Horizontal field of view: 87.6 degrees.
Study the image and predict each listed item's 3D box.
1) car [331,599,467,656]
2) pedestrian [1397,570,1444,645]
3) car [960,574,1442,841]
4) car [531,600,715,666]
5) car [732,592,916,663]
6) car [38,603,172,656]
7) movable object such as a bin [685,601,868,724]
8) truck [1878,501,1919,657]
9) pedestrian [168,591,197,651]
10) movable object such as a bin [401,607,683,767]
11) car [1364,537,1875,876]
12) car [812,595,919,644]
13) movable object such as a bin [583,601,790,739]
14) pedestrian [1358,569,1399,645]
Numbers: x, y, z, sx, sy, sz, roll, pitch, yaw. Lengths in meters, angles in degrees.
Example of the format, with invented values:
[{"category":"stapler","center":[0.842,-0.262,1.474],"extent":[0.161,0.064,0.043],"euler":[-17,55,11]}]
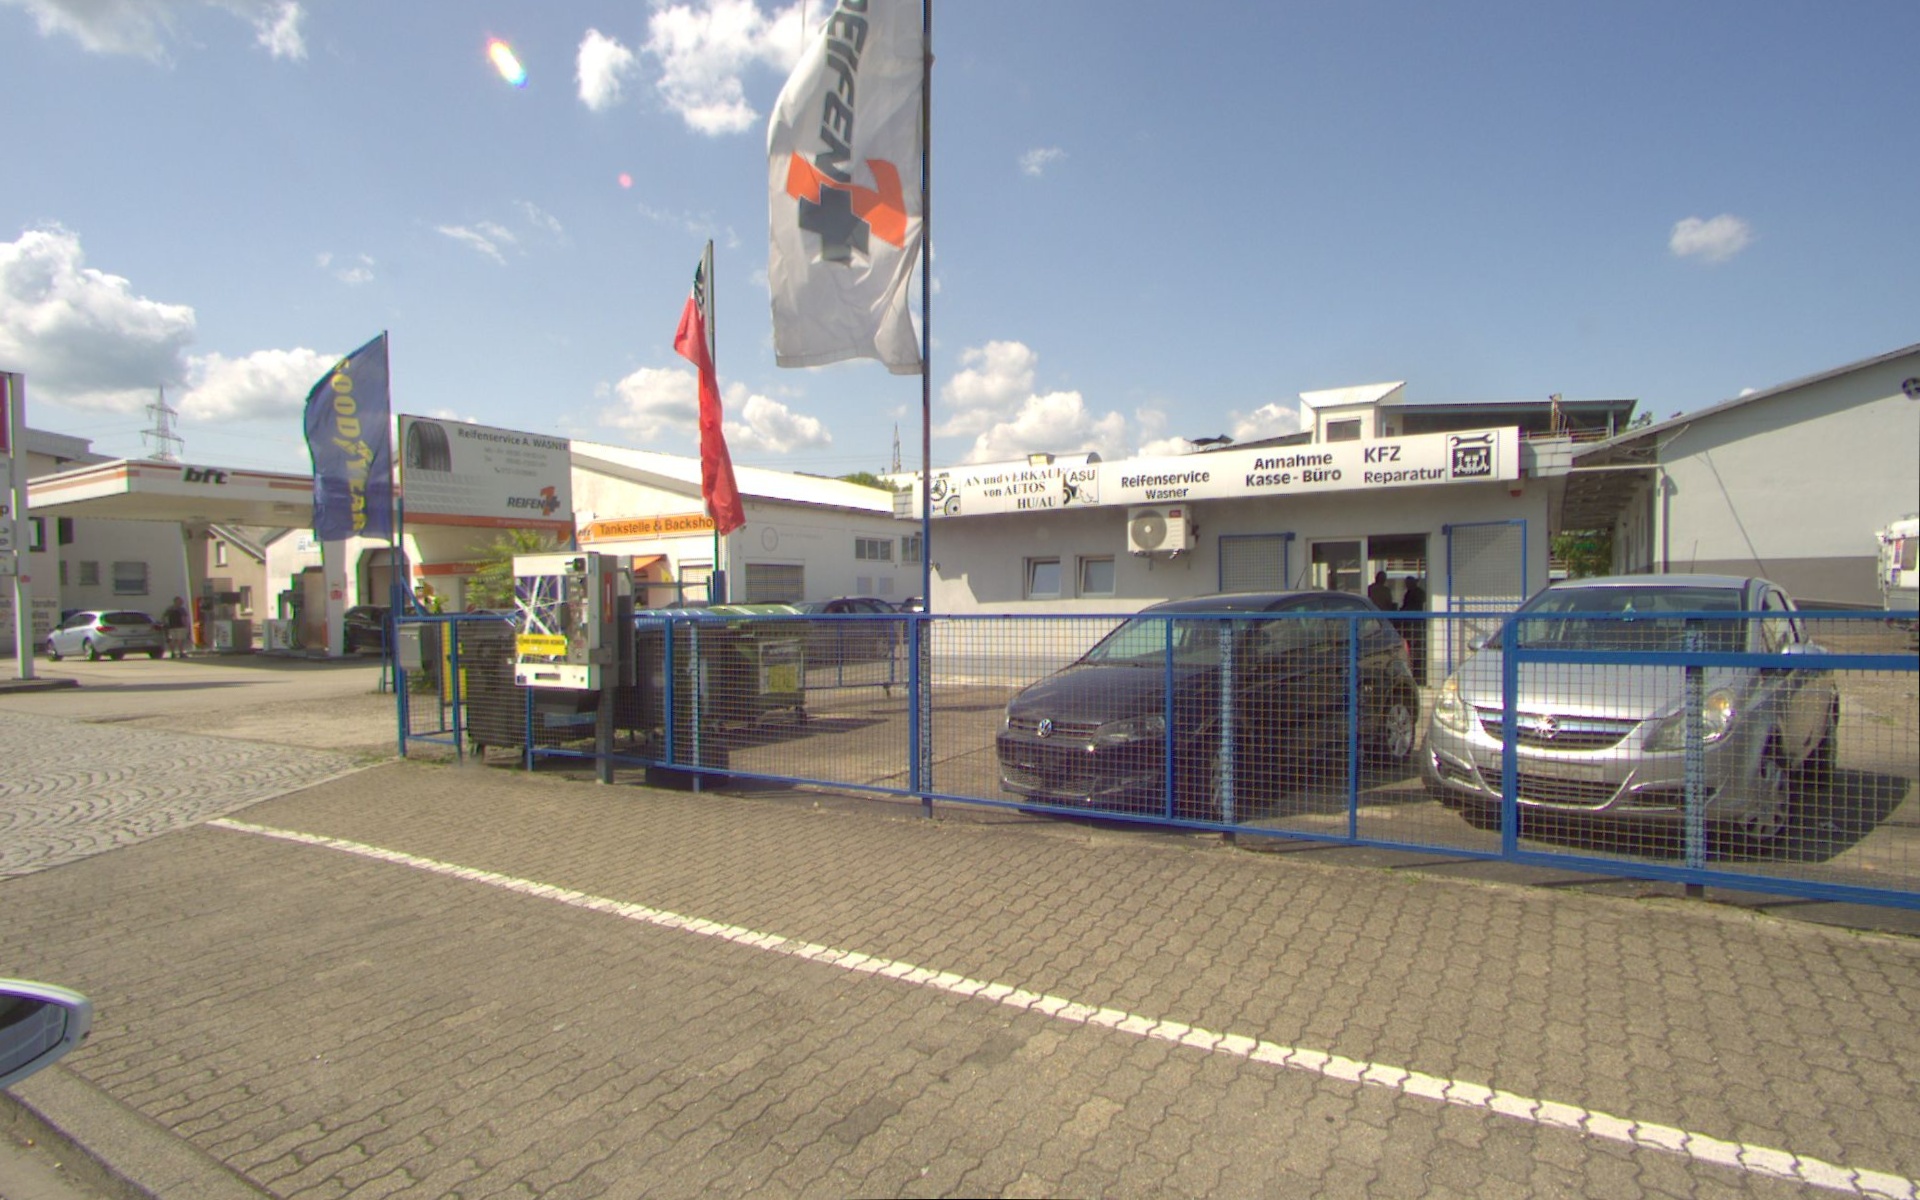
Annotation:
[{"category":"car","center":[-17.039,0.783,30.358],"extent":[4.427,1.540,1.679],"euler":[1,2,32]},{"category":"pedestrian","center":[8.376,0.152,18.215],"extent":[0.690,1.318,0.632],"euler":[-1,-1,32]},{"category":"car","center":[1.988,0.598,7.559],"extent":[3.868,1.482,1.611],"euler":[-2,0,-42]},{"category":"car","center":[-8.264,0.765,24.872],"extent":[1.747,1.443,4.124],"euler":[-1,0,33]},{"category":"car","center":[-2.906,0.590,22.125],"extent":[1.627,1.426,4.036],"euler":[0,-1,39]},{"category":"car","center":[-26.116,0.910,30.566],"extent":[4.357,1.490,1.689],"euler":[-1,1,30]},{"category":"movable object such as a bin","center":[-2.321,0.767,12.771],"extent":[1.740,1.428,1.530],"euler":[-1,-2,31]},{"category":"truck","center":[21.292,-0.478,19.261],"extent":[5.014,3.050,2.149],"euler":[-1,1,31]},{"category":"pedestrian","center":[-23.768,0.645,30.605],"extent":[0.569,1.799,0.496],"euler":[-1,-1,30]},{"category":"movable object such as a bin","center":[-4.051,0.791,9.851],"extent":[1.684,1.364,1.960],"euler":[-1,-2,31]},{"category":"car","center":[4.532,0.552,6.606],"extent":[4.219,1.524,1.811],"euler":[2,-2,-42]},{"category":"car","center":[-2.980,0.601,32.159],"extent":[1.507,1.443,3.574],"euler":[-1,0,33]},{"category":"movable object such as a bin","center":[-3.106,0.764,11.448],"extent":[1.740,1.428,1.530],"euler":[-1,-2,31]},{"category":"pedestrian","center":[7.393,0.134,17.665],"extent":[0.625,1.318,0.698],"euler":[-1,-1,26]}]
